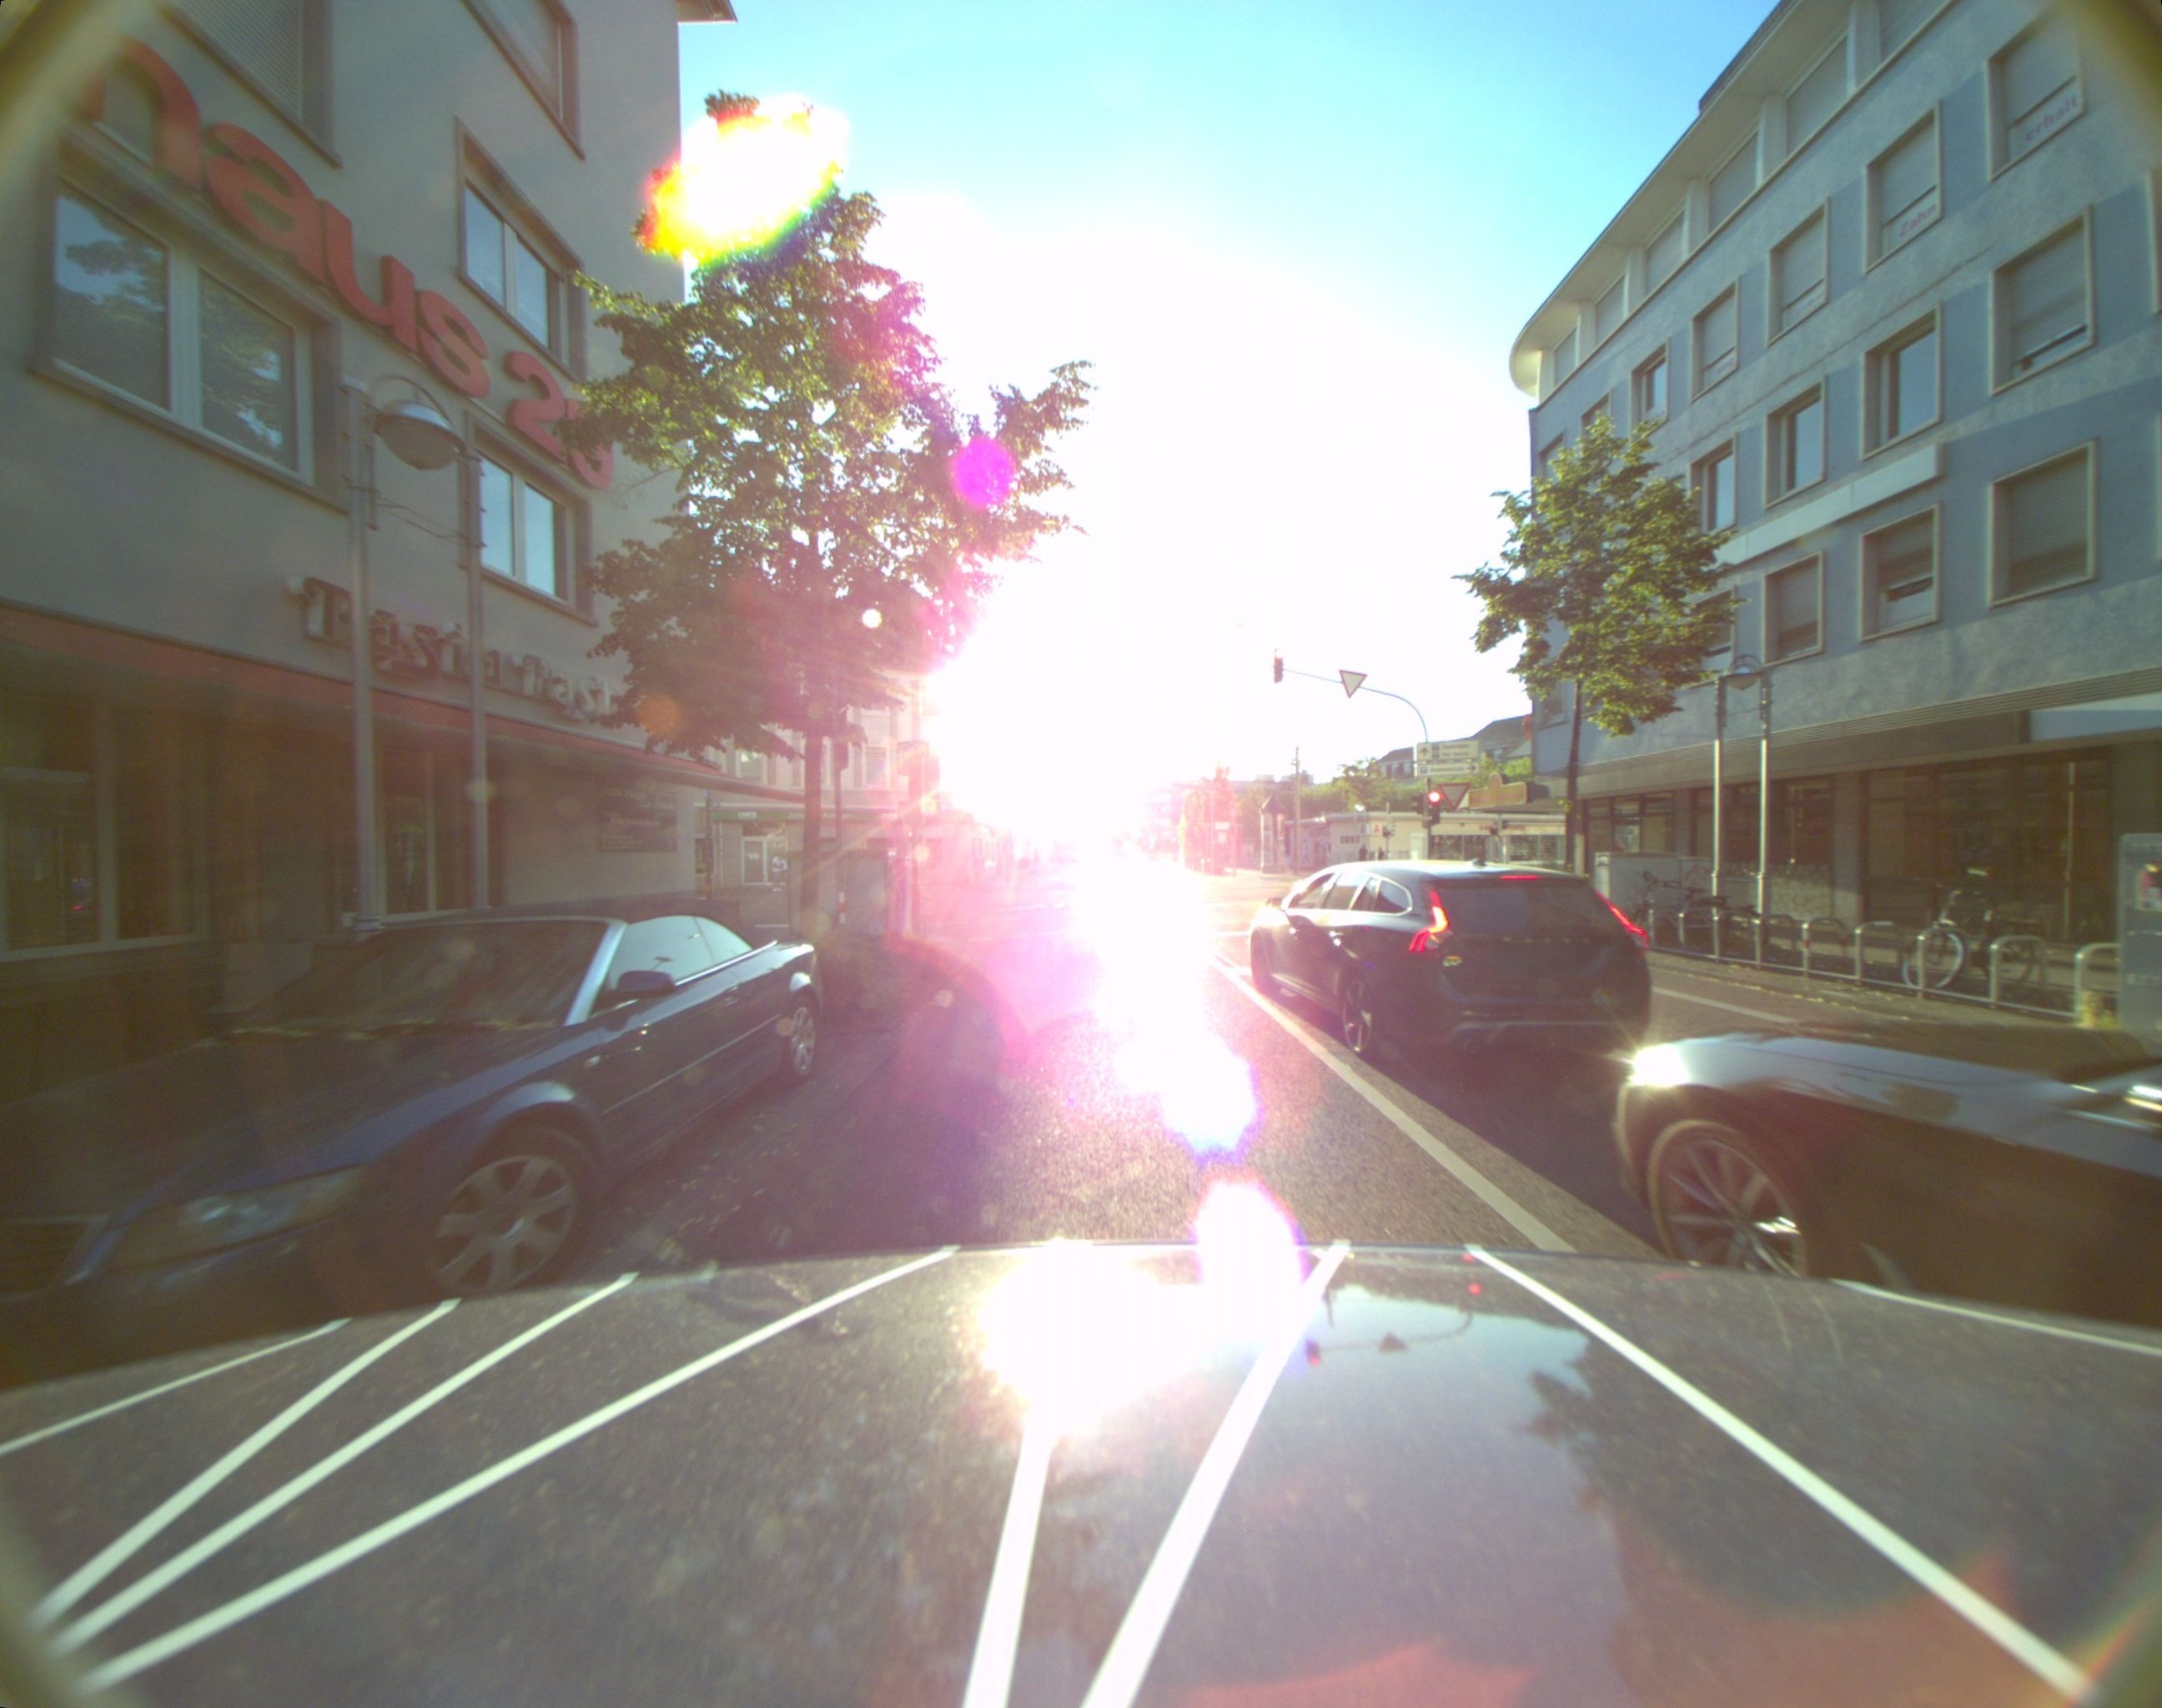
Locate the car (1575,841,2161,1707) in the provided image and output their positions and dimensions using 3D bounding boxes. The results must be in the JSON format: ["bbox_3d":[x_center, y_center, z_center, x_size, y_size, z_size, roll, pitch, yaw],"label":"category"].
[{"bbox_3d":[2.732,0.824,0.419,1.951,1.635,4.614,0,1,1],"label":"car"}]

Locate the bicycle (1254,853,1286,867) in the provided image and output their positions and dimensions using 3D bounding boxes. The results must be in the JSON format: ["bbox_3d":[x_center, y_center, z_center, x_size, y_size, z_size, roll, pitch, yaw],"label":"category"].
[{"bbox_3d":[14.504,0.449,58.306,2.196,1.081,0.779,-1,1,-6],"label":"bicycle"}]

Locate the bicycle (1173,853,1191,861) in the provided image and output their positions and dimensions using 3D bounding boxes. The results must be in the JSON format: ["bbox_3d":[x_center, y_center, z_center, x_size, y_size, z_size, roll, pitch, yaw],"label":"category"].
[{"bbox_3d":[13.186,0.441,99.111,2.398,0.953,0.673,-2,2,8],"label":"bicycle"}]

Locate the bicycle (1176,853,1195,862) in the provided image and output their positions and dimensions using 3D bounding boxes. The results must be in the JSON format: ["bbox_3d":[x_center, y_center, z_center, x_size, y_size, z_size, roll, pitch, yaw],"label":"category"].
[{"bbox_3d":[13.441,0.447,98.045,2.398,0.953,0.673,-2,2,8],"label":"bicycle"}]

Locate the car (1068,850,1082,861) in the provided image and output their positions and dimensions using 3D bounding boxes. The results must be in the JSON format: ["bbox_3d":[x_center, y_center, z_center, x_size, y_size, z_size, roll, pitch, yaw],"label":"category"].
[{"bbox_3d":[-0.861,0.274,117.822,1.998,1.538,4.509,-2,1,1],"label":"car"}]

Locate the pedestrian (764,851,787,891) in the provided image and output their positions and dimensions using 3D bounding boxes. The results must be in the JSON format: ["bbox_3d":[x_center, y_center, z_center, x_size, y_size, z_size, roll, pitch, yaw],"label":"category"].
[{"bbox_3d":[-13.811,0.753,34.393,0.688,1.762,0.763,-3,2,-40],"label":"pedestrian"}]

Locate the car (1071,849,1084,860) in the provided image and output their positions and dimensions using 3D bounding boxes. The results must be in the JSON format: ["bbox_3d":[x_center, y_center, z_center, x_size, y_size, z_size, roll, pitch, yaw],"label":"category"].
[{"bbox_3d":[-0.519,0.007,123.657,1.998,1.638,4.509,-2,1,2],"label":"car"}]

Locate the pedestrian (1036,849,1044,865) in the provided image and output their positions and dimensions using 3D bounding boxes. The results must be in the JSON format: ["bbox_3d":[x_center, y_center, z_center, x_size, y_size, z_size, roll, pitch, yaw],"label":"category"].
[{"bbox_3d":[-4.634,0.386,85.760,0.673,1.774,0.721,1,2,-16],"label":"pedestrian"}]

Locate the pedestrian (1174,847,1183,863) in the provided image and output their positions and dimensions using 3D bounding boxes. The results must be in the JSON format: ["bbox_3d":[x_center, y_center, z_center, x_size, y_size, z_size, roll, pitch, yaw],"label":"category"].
[{"bbox_3d":[10.676,0.129,83.156,0.905,1.667,0.780,-2,2,12],"label":"pedestrian"}]

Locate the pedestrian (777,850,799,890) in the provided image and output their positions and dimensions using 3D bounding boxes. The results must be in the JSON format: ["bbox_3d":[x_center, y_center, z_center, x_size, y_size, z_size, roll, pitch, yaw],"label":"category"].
[{"bbox_3d":[-13.467,0.731,34.949,0.685,1.762,0.628,-3,2,-40],"label":"pedestrian"}]

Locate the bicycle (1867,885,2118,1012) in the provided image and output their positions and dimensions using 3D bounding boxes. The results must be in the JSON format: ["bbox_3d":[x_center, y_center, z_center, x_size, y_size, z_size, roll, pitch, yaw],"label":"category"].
[{"bbox_3d":[9.528,0.977,7.978,2.014,1.212,0.491,-2,2,1],"label":"bicycle"}]

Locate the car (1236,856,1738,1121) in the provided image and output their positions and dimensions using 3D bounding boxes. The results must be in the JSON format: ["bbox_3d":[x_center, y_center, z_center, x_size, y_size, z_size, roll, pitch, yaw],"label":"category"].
[{"bbox_3d":[2.861,0.801,6.730,1.963,1.538,4.509,0,0,-1],"label":"car"}]

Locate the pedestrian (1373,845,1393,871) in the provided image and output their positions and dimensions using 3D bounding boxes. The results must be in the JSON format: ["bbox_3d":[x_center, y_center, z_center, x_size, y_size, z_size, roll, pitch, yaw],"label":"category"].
[{"bbox_3d":[19.847,0.251,49.905,0.781,1.667,0.904,-3,2,-34],"label":"pedestrian"}]

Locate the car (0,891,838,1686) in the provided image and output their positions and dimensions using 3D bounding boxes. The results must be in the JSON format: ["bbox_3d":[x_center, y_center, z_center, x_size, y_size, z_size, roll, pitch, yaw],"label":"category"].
[{"bbox_3d":[-2.816,1.032,3.622,1.942,1.368,4.181,-3,1,-1],"label":"car"}]

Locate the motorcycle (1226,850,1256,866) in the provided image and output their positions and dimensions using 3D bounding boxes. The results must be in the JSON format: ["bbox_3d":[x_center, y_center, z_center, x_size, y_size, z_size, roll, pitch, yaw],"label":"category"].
[{"bbox_3d":[14.189,0.369,67.471,2.450,1.358,0.780,-2,0,6],"label":"motorcycle"}]

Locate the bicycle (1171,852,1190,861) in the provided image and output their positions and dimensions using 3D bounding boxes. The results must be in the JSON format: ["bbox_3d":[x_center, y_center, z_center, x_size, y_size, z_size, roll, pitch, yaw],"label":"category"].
[{"bbox_3d":[13.165,0.343,100.764,2.398,1.065,0.673,-2,2,8],"label":"bicycle"}]

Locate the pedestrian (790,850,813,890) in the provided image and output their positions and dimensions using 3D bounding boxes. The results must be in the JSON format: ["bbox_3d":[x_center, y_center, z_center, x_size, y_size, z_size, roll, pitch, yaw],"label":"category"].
[{"bbox_3d":[-12.842,0.734,34.936,0.779,1.802,0.906,-2,2,-11],"label":"pedestrian"}]

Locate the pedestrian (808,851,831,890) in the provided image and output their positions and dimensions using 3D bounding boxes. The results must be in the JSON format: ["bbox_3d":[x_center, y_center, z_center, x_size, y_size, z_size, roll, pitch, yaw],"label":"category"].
[{"bbox_3d":[-11.999,0.741,34.900,0.779,1.762,0.906,-2,2,-11],"label":"pedestrian"}]

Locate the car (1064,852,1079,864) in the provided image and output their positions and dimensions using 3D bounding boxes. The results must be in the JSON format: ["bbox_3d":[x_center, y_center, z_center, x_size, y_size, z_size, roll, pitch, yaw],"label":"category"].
[{"bbox_3d":[-1.313,0.535,105.964,1.999,1.538,4.508,-2,1,-1],"label":"car"}]

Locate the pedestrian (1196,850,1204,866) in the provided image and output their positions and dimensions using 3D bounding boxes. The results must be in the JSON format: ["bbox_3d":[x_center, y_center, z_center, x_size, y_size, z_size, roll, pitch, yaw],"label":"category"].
[{"bbox_3d":[12.631,0.430,80.646,0.778,1.667,0.907,-2,2,8],"label":"pedestrian"}]

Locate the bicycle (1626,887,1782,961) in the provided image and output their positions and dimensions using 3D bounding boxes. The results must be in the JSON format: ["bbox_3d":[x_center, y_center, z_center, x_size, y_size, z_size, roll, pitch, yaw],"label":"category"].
[{"bbox_3d":[9.409,1.041,11.497,2.015,0.986,0.491,-2,2,-3],"label":"bicycle"}]

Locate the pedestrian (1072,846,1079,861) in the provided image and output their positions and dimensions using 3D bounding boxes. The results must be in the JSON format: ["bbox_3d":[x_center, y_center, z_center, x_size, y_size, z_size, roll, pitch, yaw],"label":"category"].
[{"bbox_3d":[-0.633,-0.014,89.893,0.842,1.736,0.701,-2,2,0],"label":"pedestrian"}]

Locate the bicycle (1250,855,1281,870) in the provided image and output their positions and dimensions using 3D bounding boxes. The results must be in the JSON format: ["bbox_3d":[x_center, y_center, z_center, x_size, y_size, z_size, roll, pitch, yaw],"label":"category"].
[{"bbox_3d":[14.405,0.654,59.434,2.221,1.081,0.779,-1,1,-6],"label":"bicycle"}]

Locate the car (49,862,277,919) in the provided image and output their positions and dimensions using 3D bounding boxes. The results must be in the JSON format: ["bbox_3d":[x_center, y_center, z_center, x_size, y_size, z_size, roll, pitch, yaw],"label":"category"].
[{"bbox_3d":[-31.099,1.180,25.966,4.514,1.693,1.996,-1,1,-23],"label":"car"}]

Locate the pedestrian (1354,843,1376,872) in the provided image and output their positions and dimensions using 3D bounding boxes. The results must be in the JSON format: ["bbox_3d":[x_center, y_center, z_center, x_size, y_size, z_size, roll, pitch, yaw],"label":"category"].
[{"bbox_3d":[17.923,0.212,47.932,0.908,1.774,0.879,-3,2,-22],"label":"pedestrian"}]

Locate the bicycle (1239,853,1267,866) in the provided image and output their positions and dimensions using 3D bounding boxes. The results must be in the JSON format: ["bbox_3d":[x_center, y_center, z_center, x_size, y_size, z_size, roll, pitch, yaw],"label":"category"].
[{"bbox_3d":[14.553,0.443,64.224,2.181,1.081,0.779,0,2,1],"label":"bicycle"}]
